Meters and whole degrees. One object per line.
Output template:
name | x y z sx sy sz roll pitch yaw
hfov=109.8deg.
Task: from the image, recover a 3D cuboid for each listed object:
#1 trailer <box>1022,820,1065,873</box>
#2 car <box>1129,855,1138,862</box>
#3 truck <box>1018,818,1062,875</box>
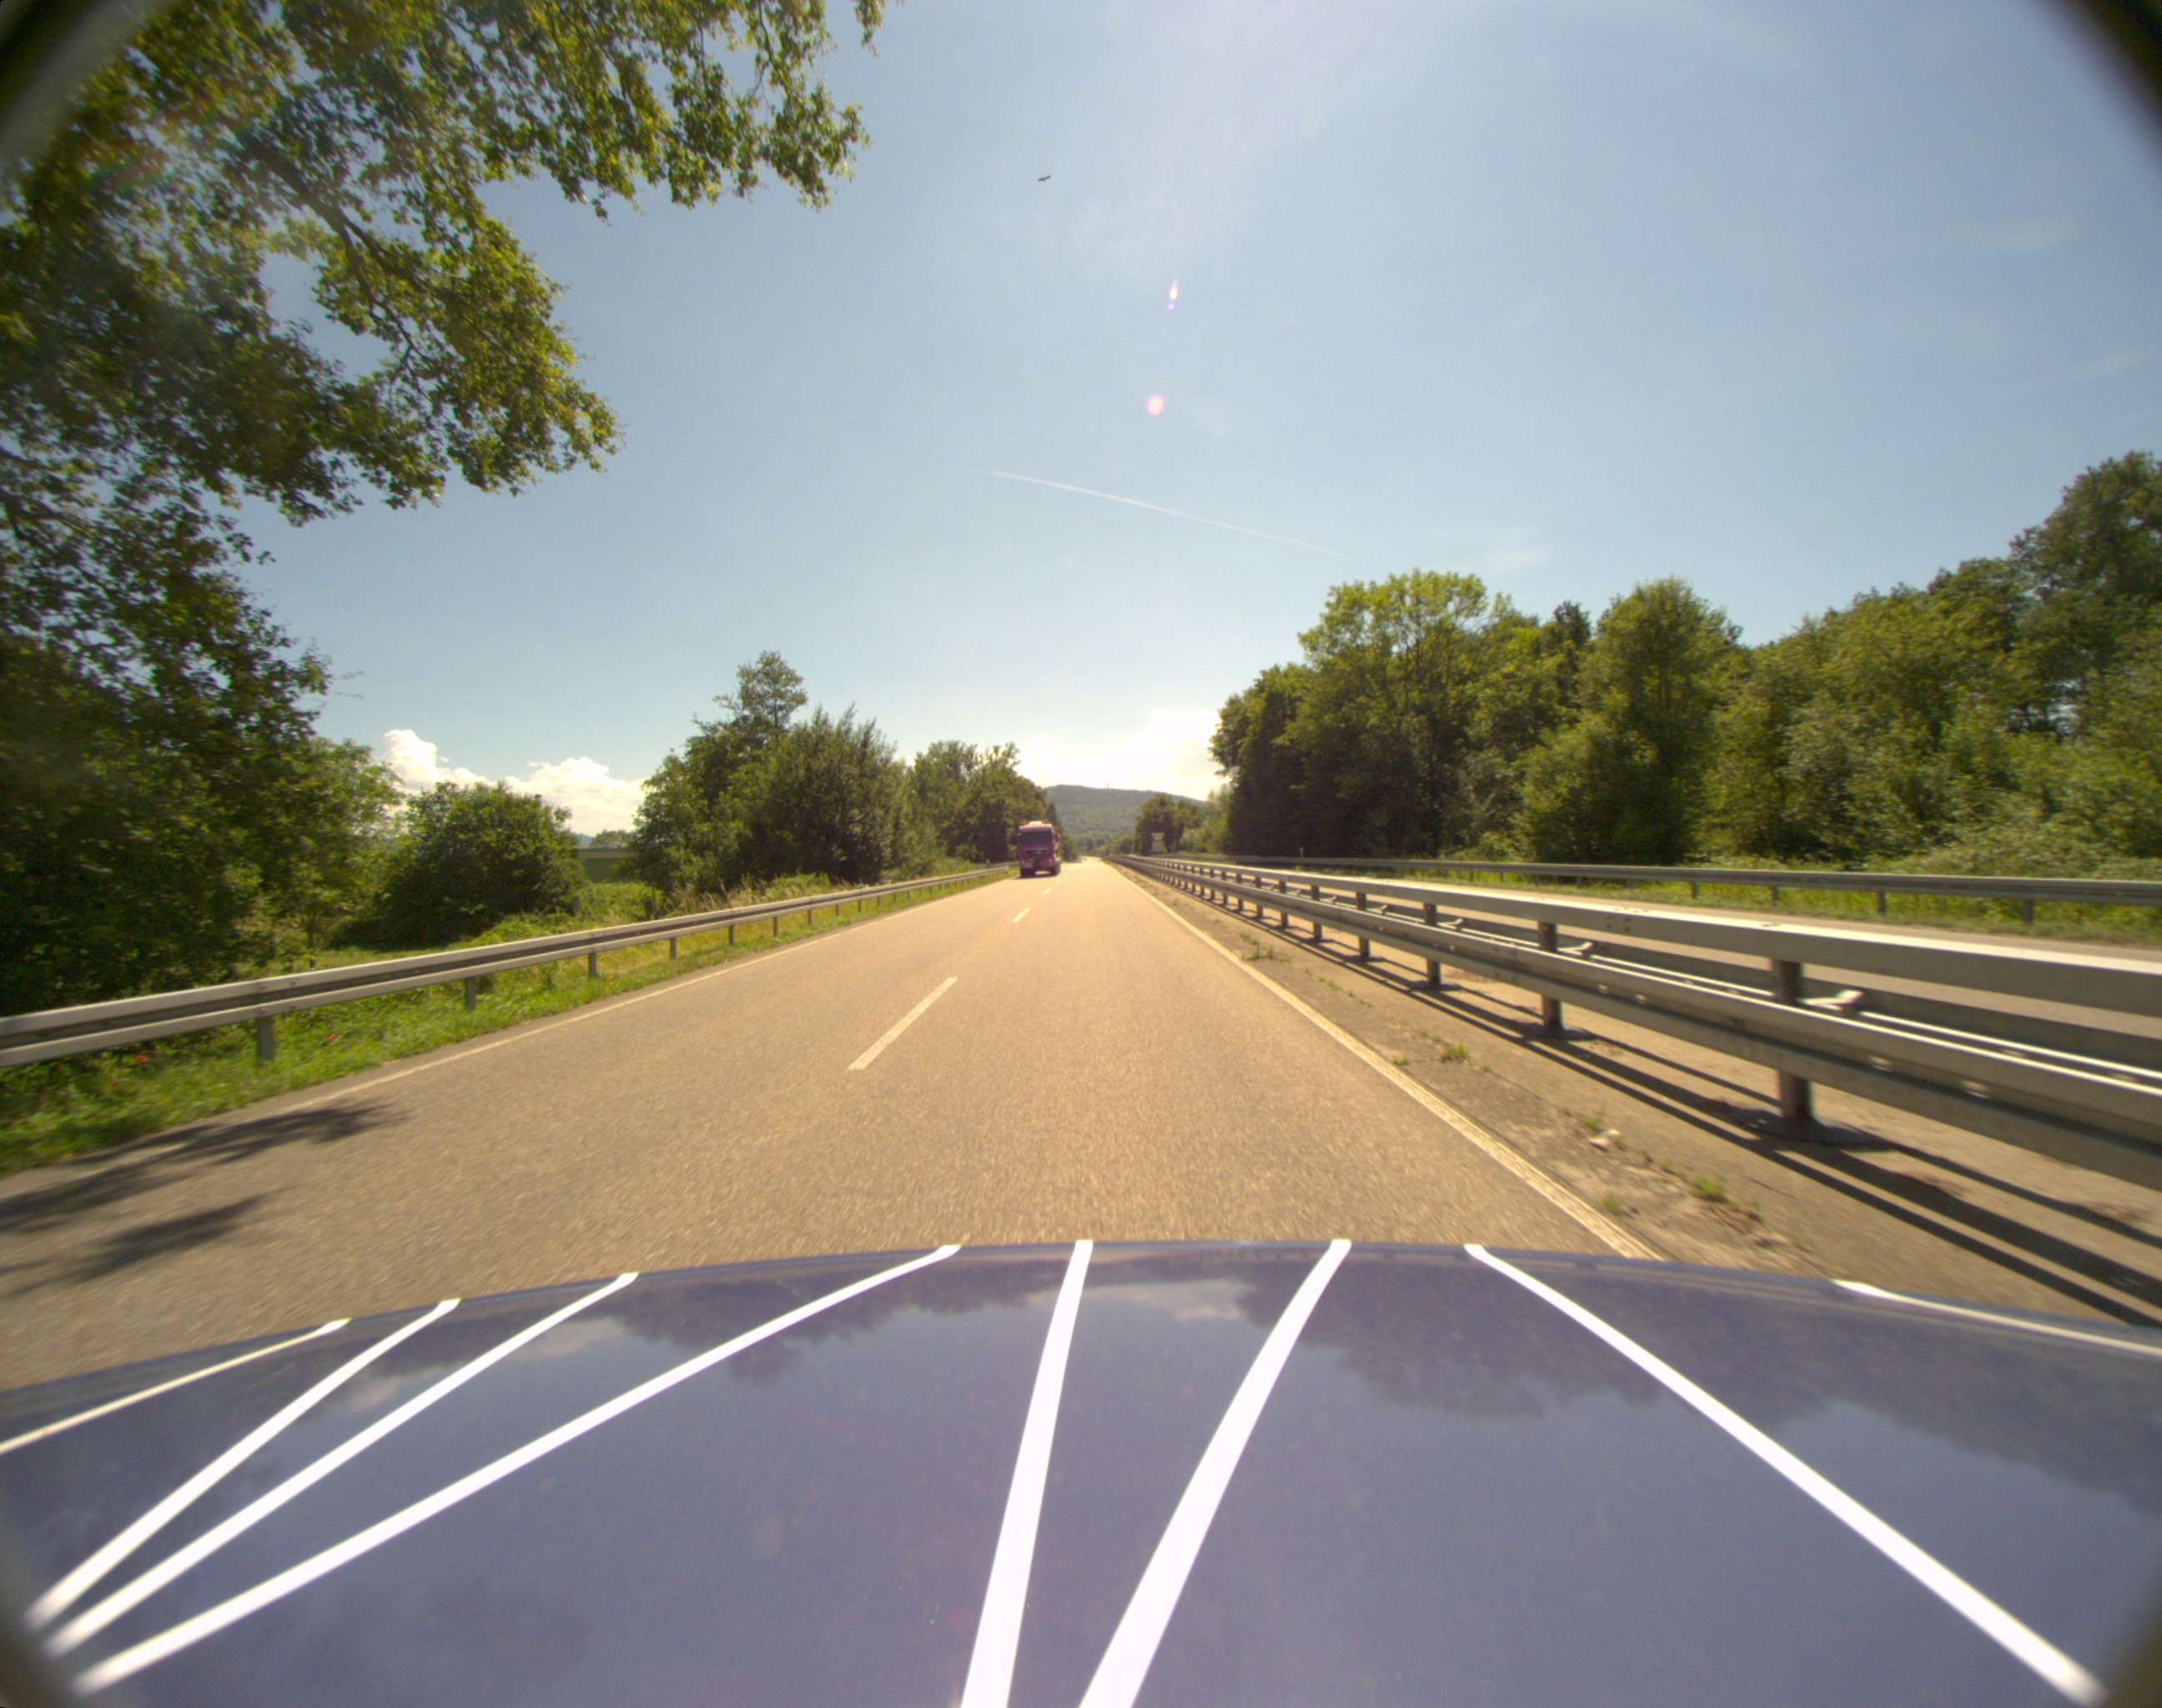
trailer | -2.768 -0.481 58.547 2.605 3.607 8.614 -3 -1 0
car | 12.727 1.058 184.001 1.823 1.589 4.840 0 0 0
truck | -2.808 -0.457 54.021 2.605 3.669 5.939 -3 -1 0
